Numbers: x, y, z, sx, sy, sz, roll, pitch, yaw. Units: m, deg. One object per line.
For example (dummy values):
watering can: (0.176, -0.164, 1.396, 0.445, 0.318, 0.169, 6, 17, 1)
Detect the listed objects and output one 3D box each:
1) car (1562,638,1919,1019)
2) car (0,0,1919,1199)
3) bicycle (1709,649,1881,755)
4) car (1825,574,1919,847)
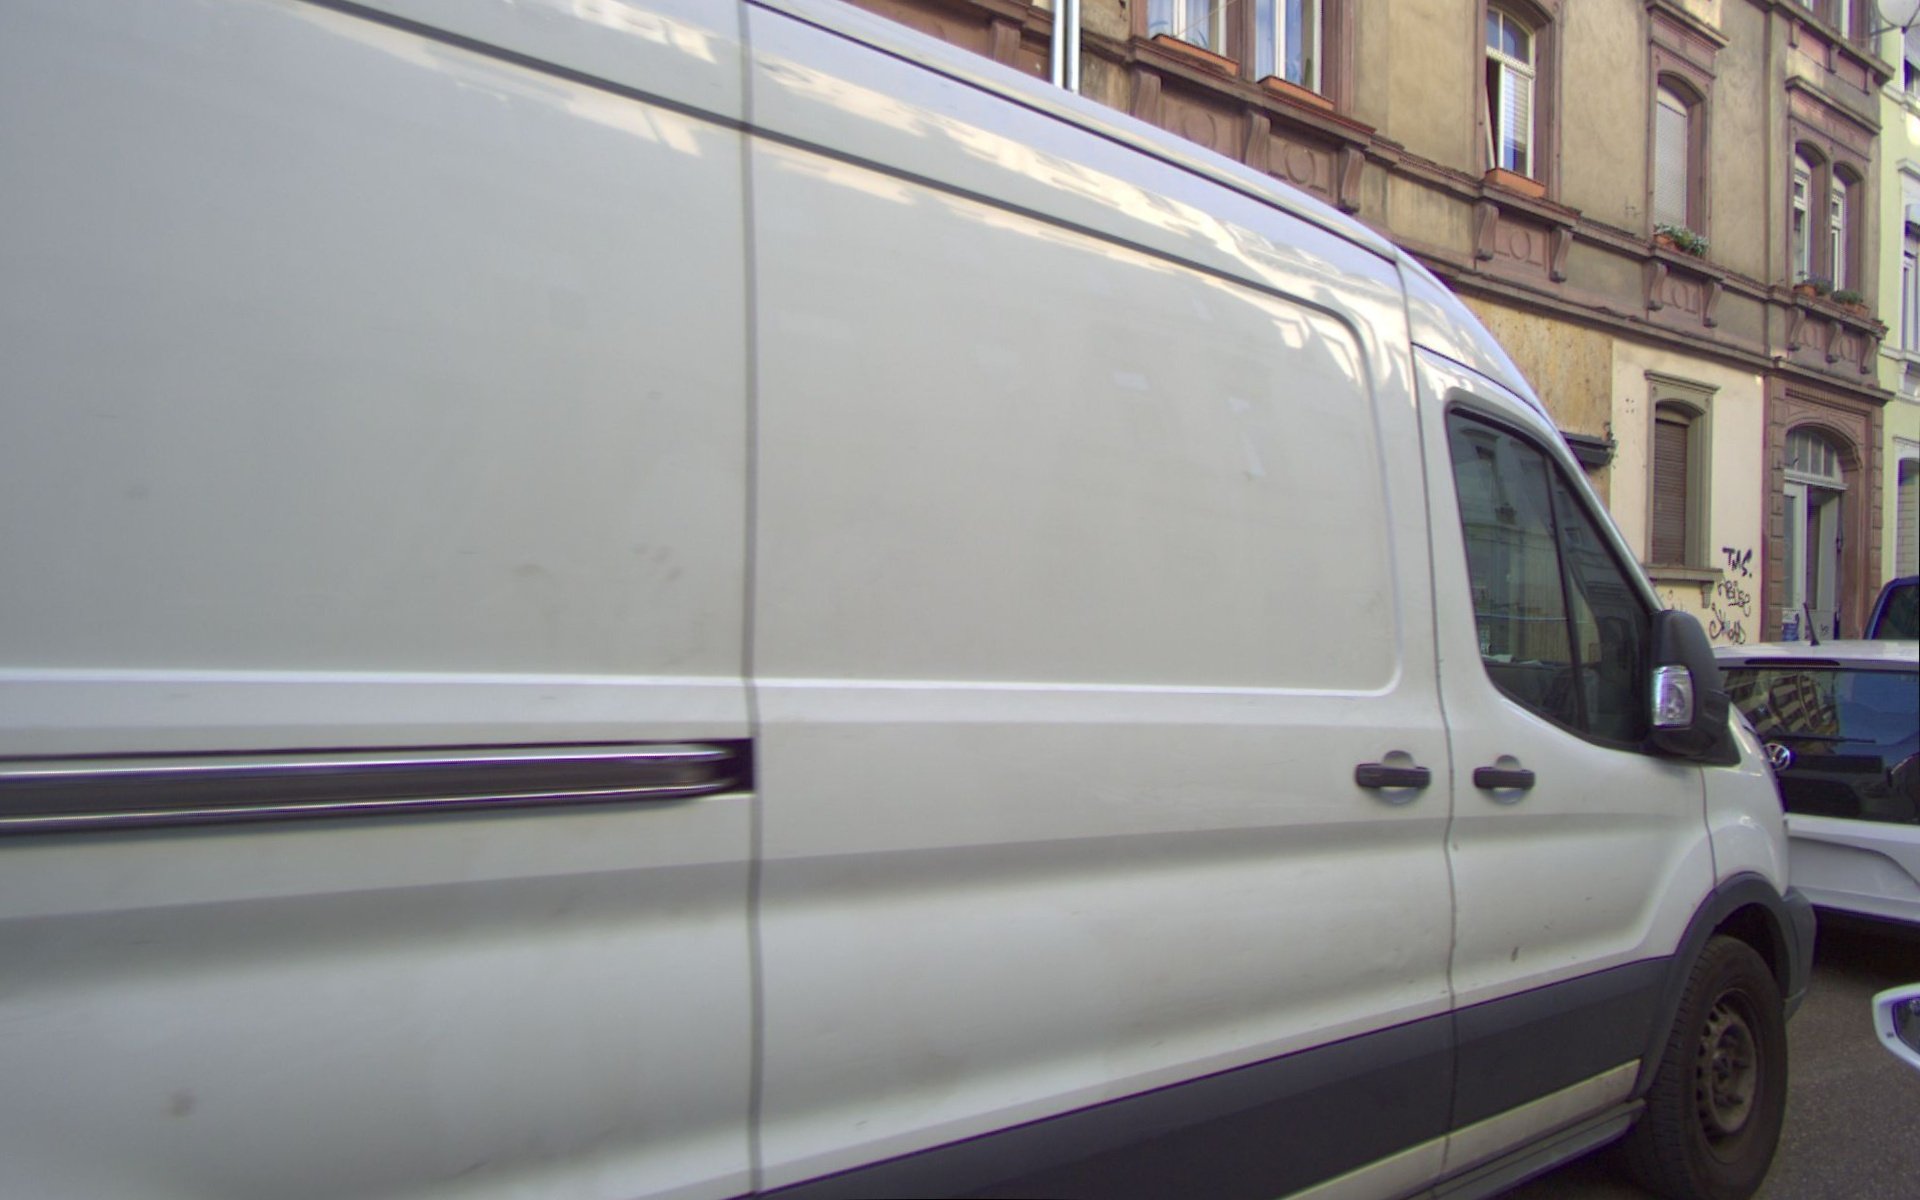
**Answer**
car: (5.106, 0.952, 5.408, 3.796, 1.466, 1.637, 1, -2, -31)
car: (0.011, 0.316, 2.577, 5.854, 2.484, 2.157, 1, -2, -31)
bicycle: (9.430, 1.111, 11.330, 2.004, 1.035, 0.752, 1, 3, -29)
car: (8.943, 0.795, 7.860, 4.558, 1.916, 1.820, 1, -4, -30)
